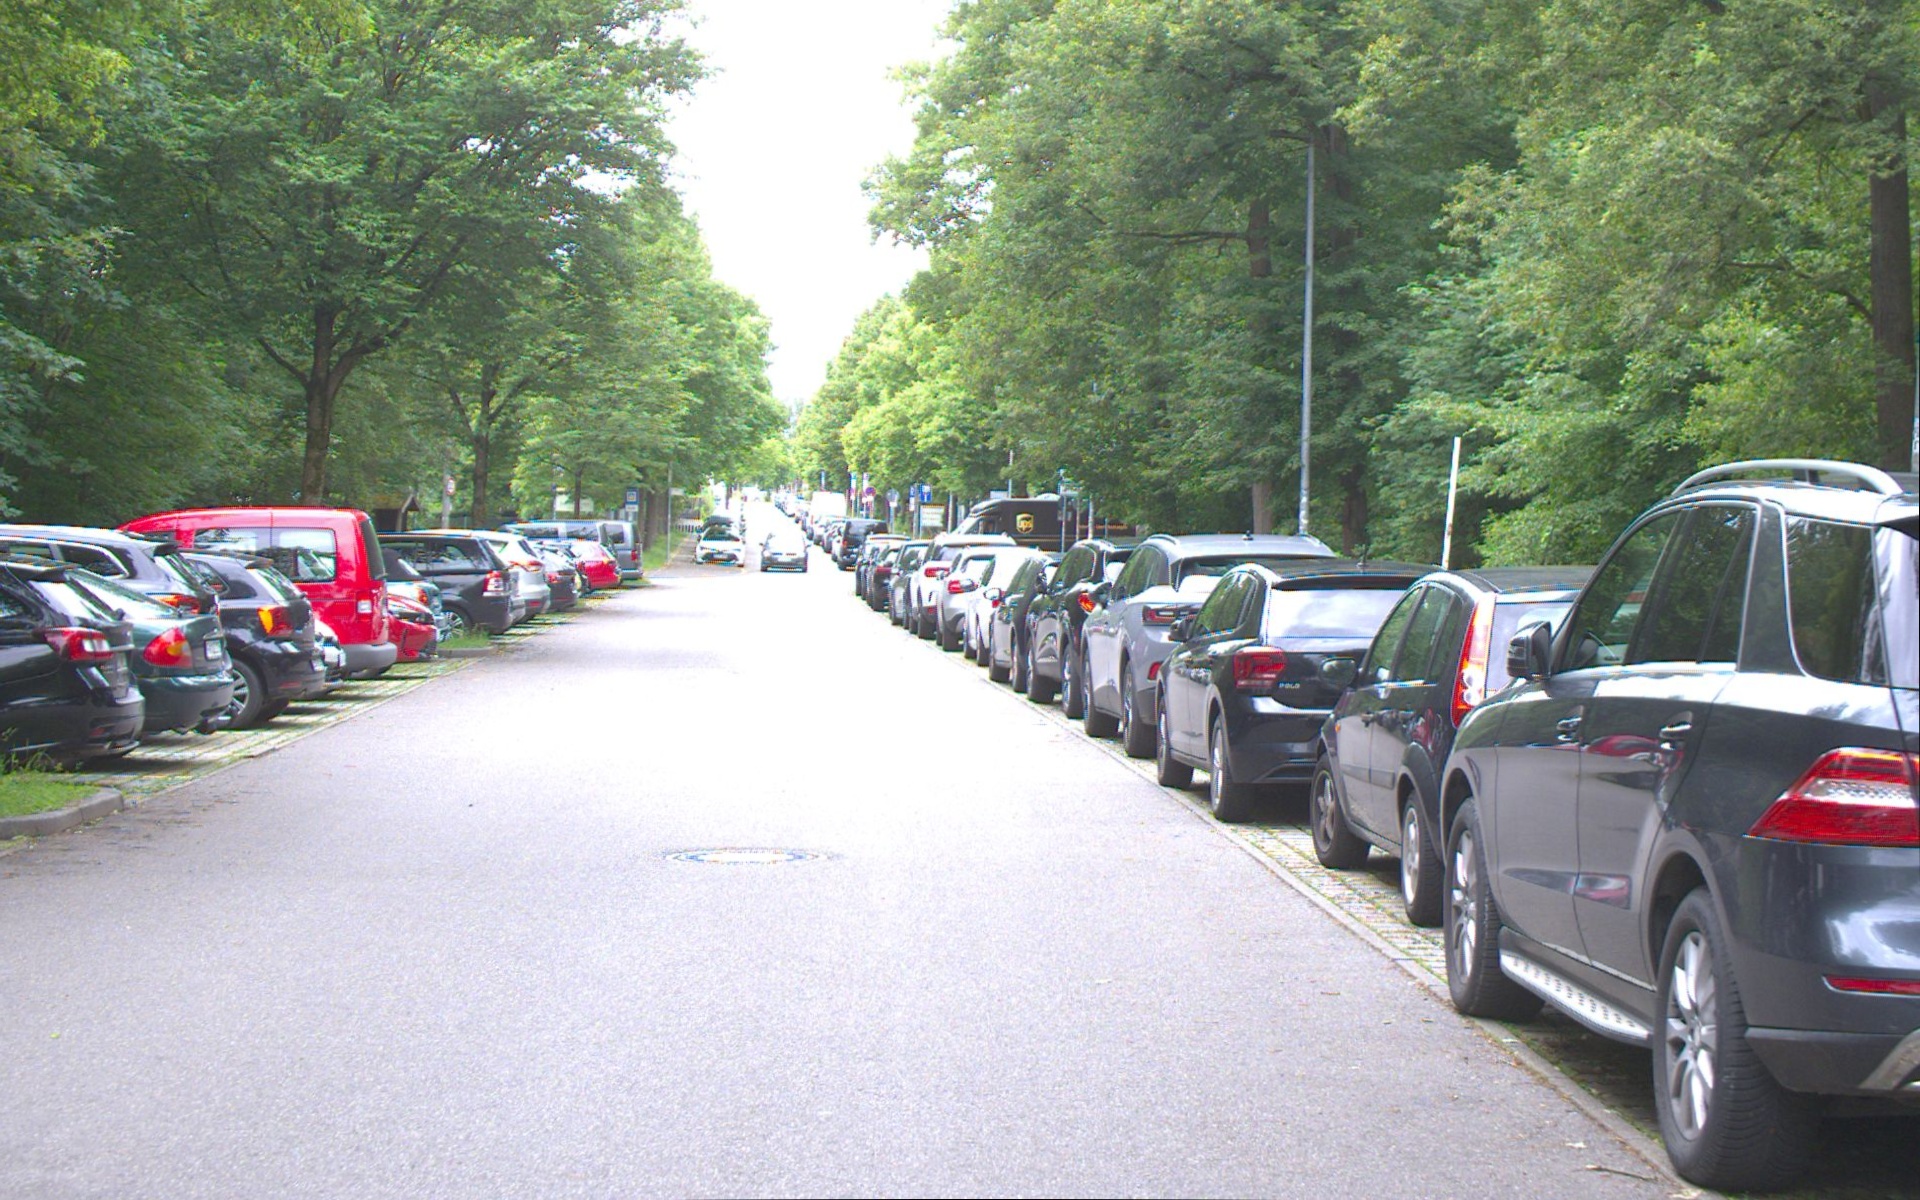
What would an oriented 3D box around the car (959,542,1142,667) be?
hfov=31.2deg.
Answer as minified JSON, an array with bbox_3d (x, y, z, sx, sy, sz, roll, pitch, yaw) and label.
[{"bbox_3d":[1.104,0.023,43.827,1.937,1.470,3.993,1,1,-4],"label":"car"}]

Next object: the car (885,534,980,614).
[{"bbox_3d":[-0.564,-0.534,67.705,1.710,1.504,4.001,1,1,-2],"label":"car"}]

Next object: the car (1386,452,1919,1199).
[{"bbox_3d":[2.565,0.524,9.717,1.889,1.741,4.949,1,1,-2],"label":"car"}]

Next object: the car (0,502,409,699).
[{"bbox_3d":[-7.426,-0.014,33.225,3.986,1.810,2.115,1,1,-5],"label":"car"}]

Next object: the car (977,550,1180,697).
[{"bbox_3d":[1.219,0.209,36.867,1.666,1.439,3.815,1,1,-6],"label":"car"}]

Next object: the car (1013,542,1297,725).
[{"bbox_3d":[1.722,0.256,31.816,1.978,1.532,4.167,1,1,-6],"label":"car"}]

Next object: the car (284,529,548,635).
[{"bbox_3d":[-8.718,-0.295,55.313,3.986,1.634,1.735,1,1,-1],"label":"car"}]

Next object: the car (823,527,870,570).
[{"bbox_3d":[-4.292,-1.954,129.774,1.628,1.410,3.412,2,4,-3],"label":"car"}]

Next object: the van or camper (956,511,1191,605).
[{"bbox_3d":[3.802,-1.403,115.261,7.321,2.879,2.651,1,4,-17],"label":"van or camper"}]

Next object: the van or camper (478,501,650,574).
[{"bbox_3d":[-11.141,-1.759,96.653,4.472,1.861,1.920,1,4,-17],"label":"van or camper"}]

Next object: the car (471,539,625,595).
[{"bbox_3d":[-10.254,-0.825,85.442,3.576,1.356,1.829,0,1,-14],"label":"car"}]

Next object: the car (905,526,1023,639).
[{"bbox_3d":[0.032,-0.310,55.318,1.710,1.722,4.001,1,1,-2],"label":"car"}]

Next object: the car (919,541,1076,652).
[{"bbox_3d":[0.509,-0.081,49.808,1.721,1.489,3.775,1,1,-8],"label":"car"}]

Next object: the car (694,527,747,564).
[{"bbox_3d":[-8.838,-2.022,127.134,1.739,1.158,3.411,2,4,-1],"label":"car"}]

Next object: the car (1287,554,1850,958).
[{"bbox_3d":[2.542,0.577,15.301,1.598,1.499,4.090,1,1,-2],"label":"car"}]

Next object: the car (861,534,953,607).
[{"bbox_3d":[-1.172,-0.662,74.908,1.921,1.515,3.887,1,1,-2],"label":"car"}]

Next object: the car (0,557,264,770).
[{"bbox_3d":[-7.208,0.383,23.076,4.731,1.338,1.987,1,1,-3],"label":"car"}]

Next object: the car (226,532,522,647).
[{"bbox_3d":[-8.145,-0.158,47.996,3.832,1.531,1.871,1,1,-1],"label":"car"}]

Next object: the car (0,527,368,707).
[{"bbox_3d":[-7.419,0.124,30.679,3.986,1.525,2.000,1,1,-3],"label":"car"}]

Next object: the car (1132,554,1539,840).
[{"bbox_3d":[2.100,0.493,20.332,1.636,1.472,4.152,1,1,-4],"label":"car"}]

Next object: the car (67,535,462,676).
[{"bbox_3d":[-7.636,0.040,38.072,3.986,1.469,2.115,1,1,-2],"label":"car"}]

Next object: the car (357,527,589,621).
[{"bbox_3d":[-8.854,-0.482,62.733,3.986,1.634,2.009,1,1,-1],"label":"car"}]

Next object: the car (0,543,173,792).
[{"bbox_3d":[-7.036,0.367,20.728,4.294,1.444,1.757,1,1,-7],"label":"car"}]

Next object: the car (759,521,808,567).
[{"bbox_3d":[-6.372,-2.023,123.692,1.690,1.410,3.154,2,4,-3],"label":"car"}]

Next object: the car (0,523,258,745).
[{"bbox_3d":[-7.798,0.214,25.759,4.731,1.590,1.960,1,1,-3],"label":"car"}]

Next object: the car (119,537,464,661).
[{"bbox_3d":[-8.340,-0.030,43.147,3.986,1.469,1.847,1,1,-1],"label":"car"}]

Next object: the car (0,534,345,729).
[{"bbox_3d":[-7.144,0.230,28.243,3.986,1.525,2.000,1,1,-6],"label":"car"}]

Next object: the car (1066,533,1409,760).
[{"bbox_3d":[2.002,0.279,26.183,1.978,1.532,4.622,1,1,-3],"label":"car"}]
